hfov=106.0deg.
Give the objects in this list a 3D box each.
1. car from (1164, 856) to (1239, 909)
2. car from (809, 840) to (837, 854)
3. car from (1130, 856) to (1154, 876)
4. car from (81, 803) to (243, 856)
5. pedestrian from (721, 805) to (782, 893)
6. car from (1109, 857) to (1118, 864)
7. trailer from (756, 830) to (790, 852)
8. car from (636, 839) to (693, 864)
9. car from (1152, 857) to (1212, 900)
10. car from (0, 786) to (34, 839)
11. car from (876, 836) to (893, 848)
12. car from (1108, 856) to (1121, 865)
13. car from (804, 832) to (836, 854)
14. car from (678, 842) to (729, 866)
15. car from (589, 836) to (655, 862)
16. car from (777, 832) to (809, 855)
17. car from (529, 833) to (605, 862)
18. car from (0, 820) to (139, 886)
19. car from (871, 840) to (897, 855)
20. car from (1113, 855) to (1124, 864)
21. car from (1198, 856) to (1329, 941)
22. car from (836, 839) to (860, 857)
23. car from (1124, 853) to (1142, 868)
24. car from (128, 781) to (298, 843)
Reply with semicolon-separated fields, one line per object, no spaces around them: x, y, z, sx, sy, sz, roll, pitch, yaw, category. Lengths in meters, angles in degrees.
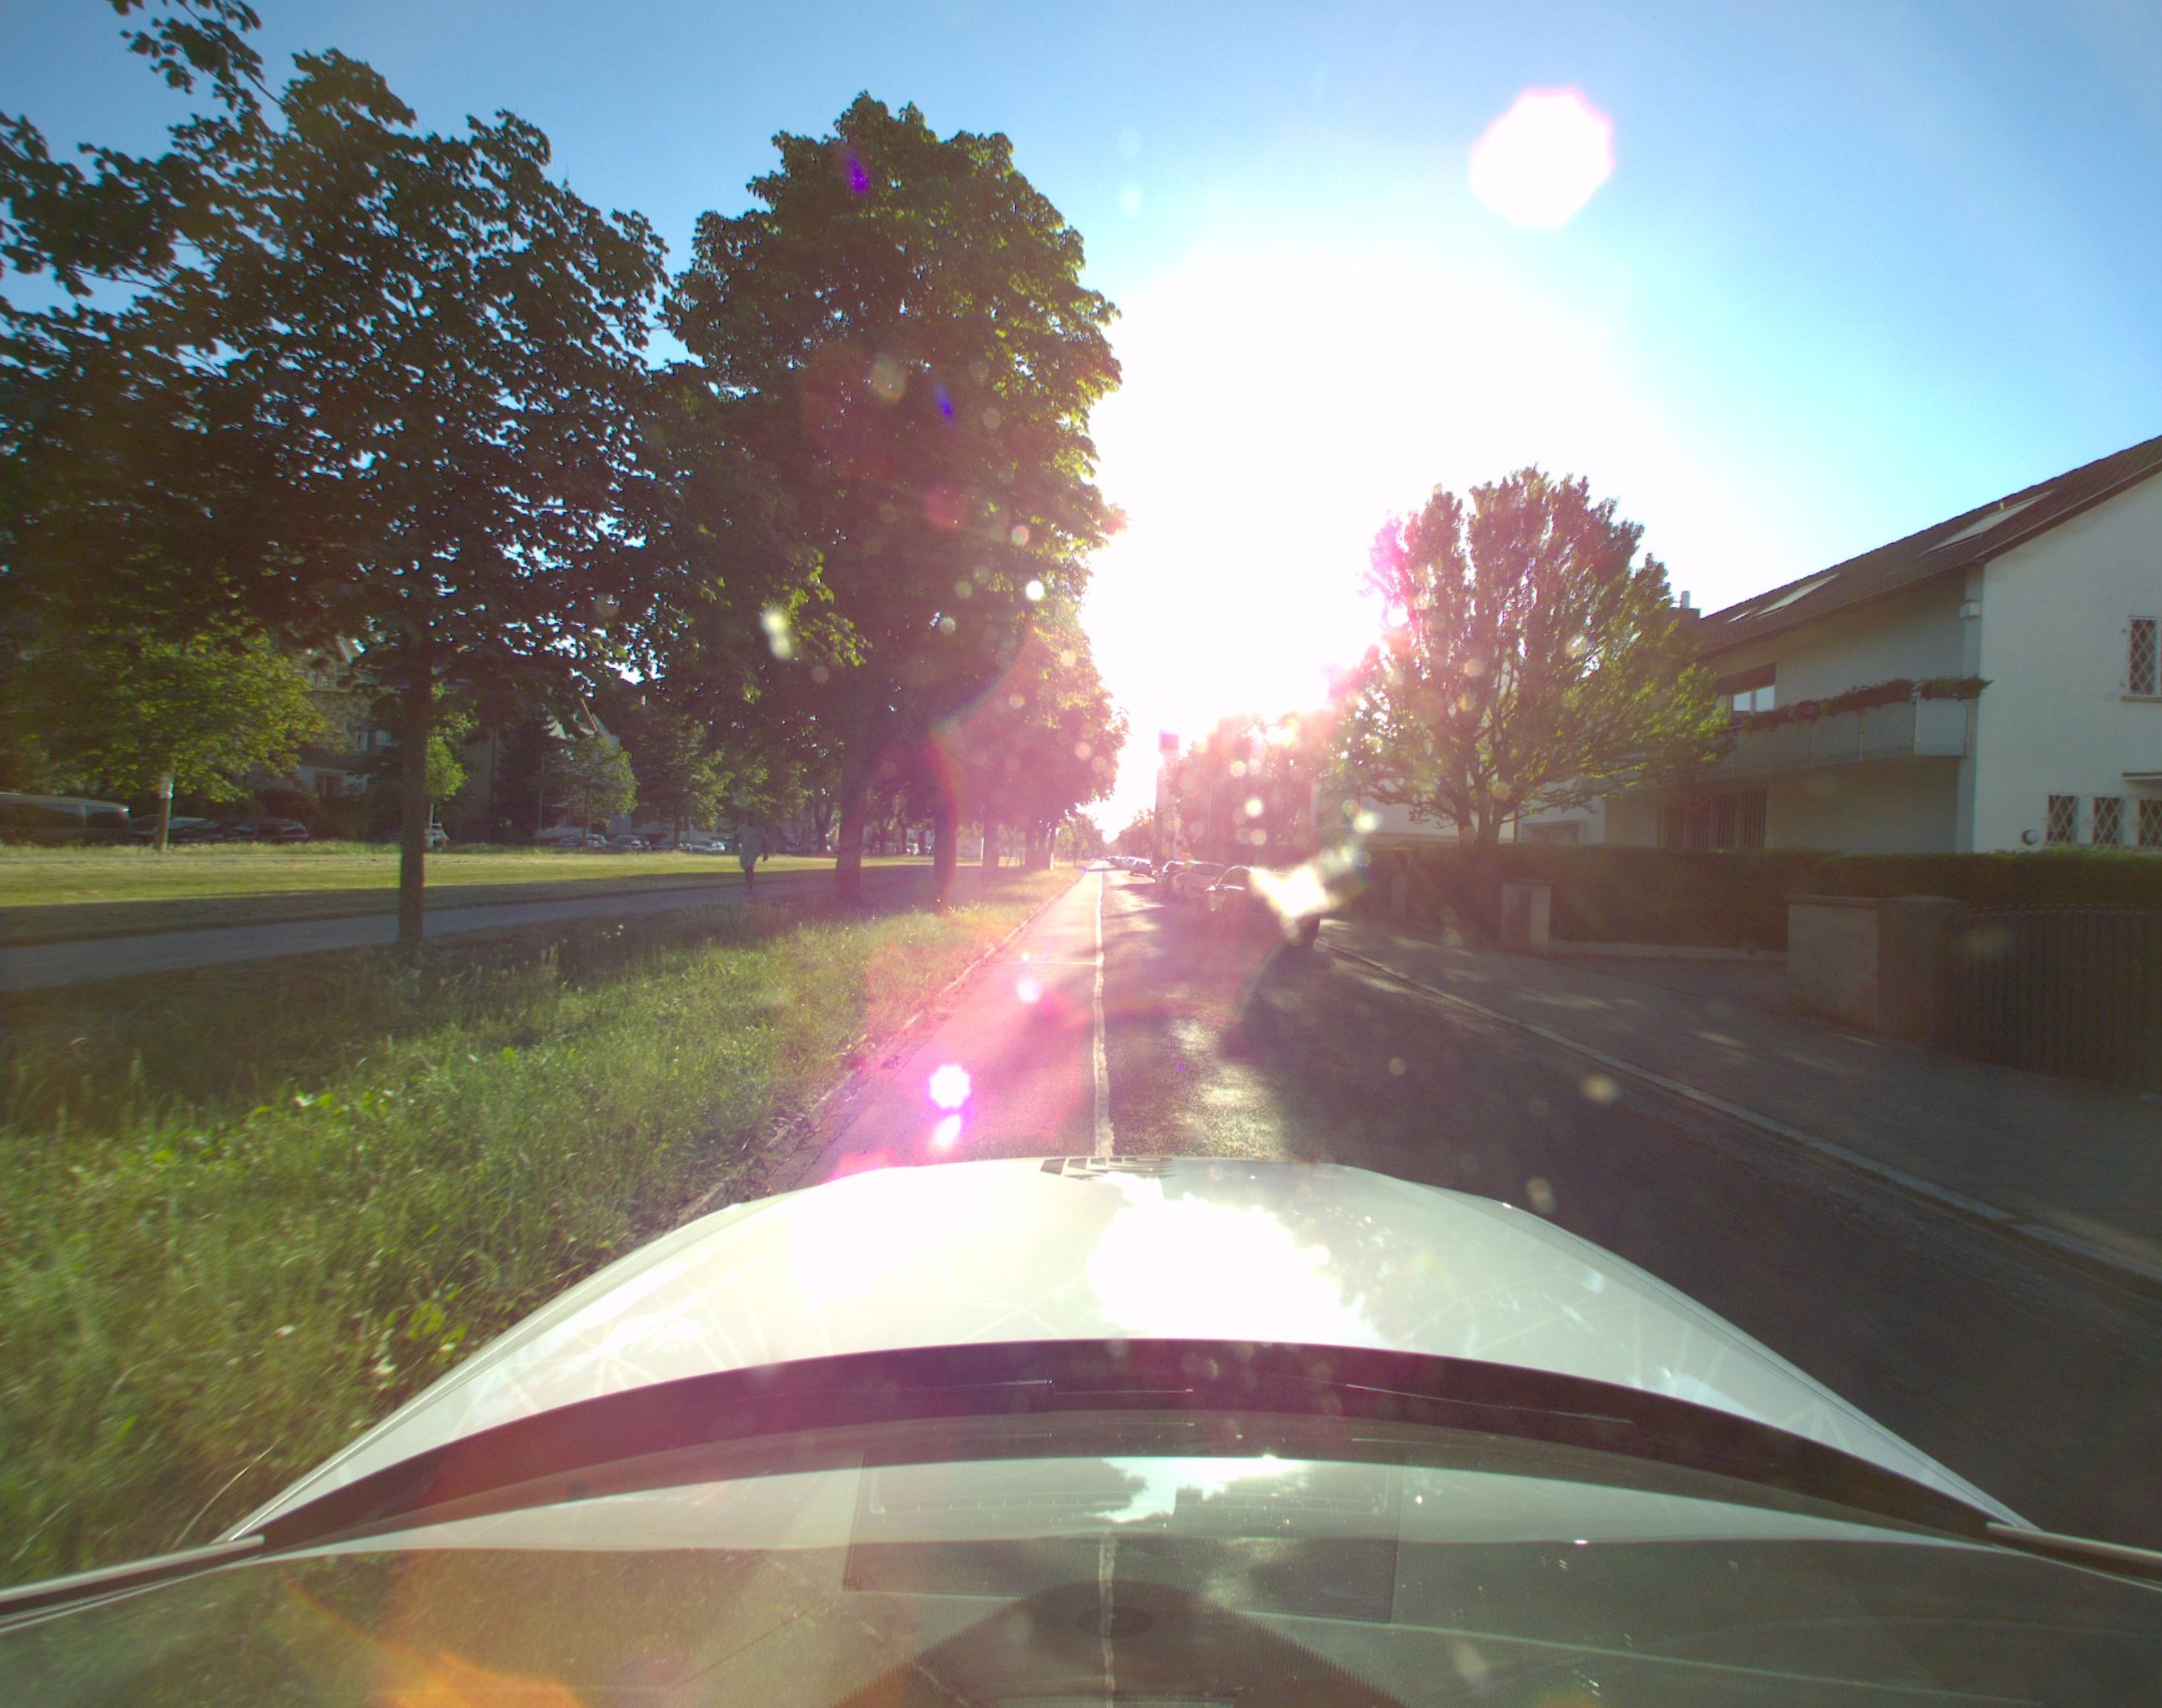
4.043;0.926;27.865;1.687;1.483;3.925;6;0;-2;car
-30.867;-0.815;97.498;1.678;1.559;4.317;2;0;2;car
5.210;1.030;70.087;1.750;1.419;4.074;8;0;2;car
-38.195;-0.959;34.018;1.985;2.013;4.003;3;0;3;car
-6.921;-0.104;17.127;0.720;1.758;0.995;2;0;8;pedestrian
7.835;1.507;195.290;1.972;1.683;4.002;2;0;2;car
-36.746;-1.532;97.181;1.986;2.428;4.726;2;0;2;trailer
-32.101;-0.163;62.920;1.985;1.721;4.258;3;0;3;car
4.005;0.930;32.878;1.744;1.477;4.286;4;0;-1;car
-38.725;-1.502;27.129;1.810;1.838;4.410;3;0;2;car
-36.527;-2.215;151.360;1.986;2.013;4.486;-3;0;1;car
5.563;1.056;134.554;1.986;1.464;4.002;2;0;2;car
-36.494;-1.534;113.996;2.429;2.922;5.819;0;-1;1;car
-31.721;0.020;68.589;1.985;1.860;4.258;3;0;3;car
-31.953;-0.314;56.824;1.985;1.684;4.004;3;0;4;car
-36.591;-1.290;103.533;1.986;2.672;5.189;2;0;2;car
-32.363;-0.370;51.424;1.985;1.684;4.004;3;0;4;car
-32.952;-0.058;24.910;1.986;1.940;5.249;2;0;2;car
-30.456;-0.963;126.161;2.525;2.236;5.461;2;0;2;car
7.448;1.114;160.724;1.986;1.629;4.002;2;0;2;car
3.718;0.842;17.440;1.787;1.492;4.675;3;0;1;car
-30.824;-0.781;107.756;1.678;2.175;4.317;3;0;2;car
5.929;0.756;93.289;1.753;1.605;4.358;2;0;0;car
-32.961;-1.517;31.123;1.986;2.013;4.002;4;0;2;car
